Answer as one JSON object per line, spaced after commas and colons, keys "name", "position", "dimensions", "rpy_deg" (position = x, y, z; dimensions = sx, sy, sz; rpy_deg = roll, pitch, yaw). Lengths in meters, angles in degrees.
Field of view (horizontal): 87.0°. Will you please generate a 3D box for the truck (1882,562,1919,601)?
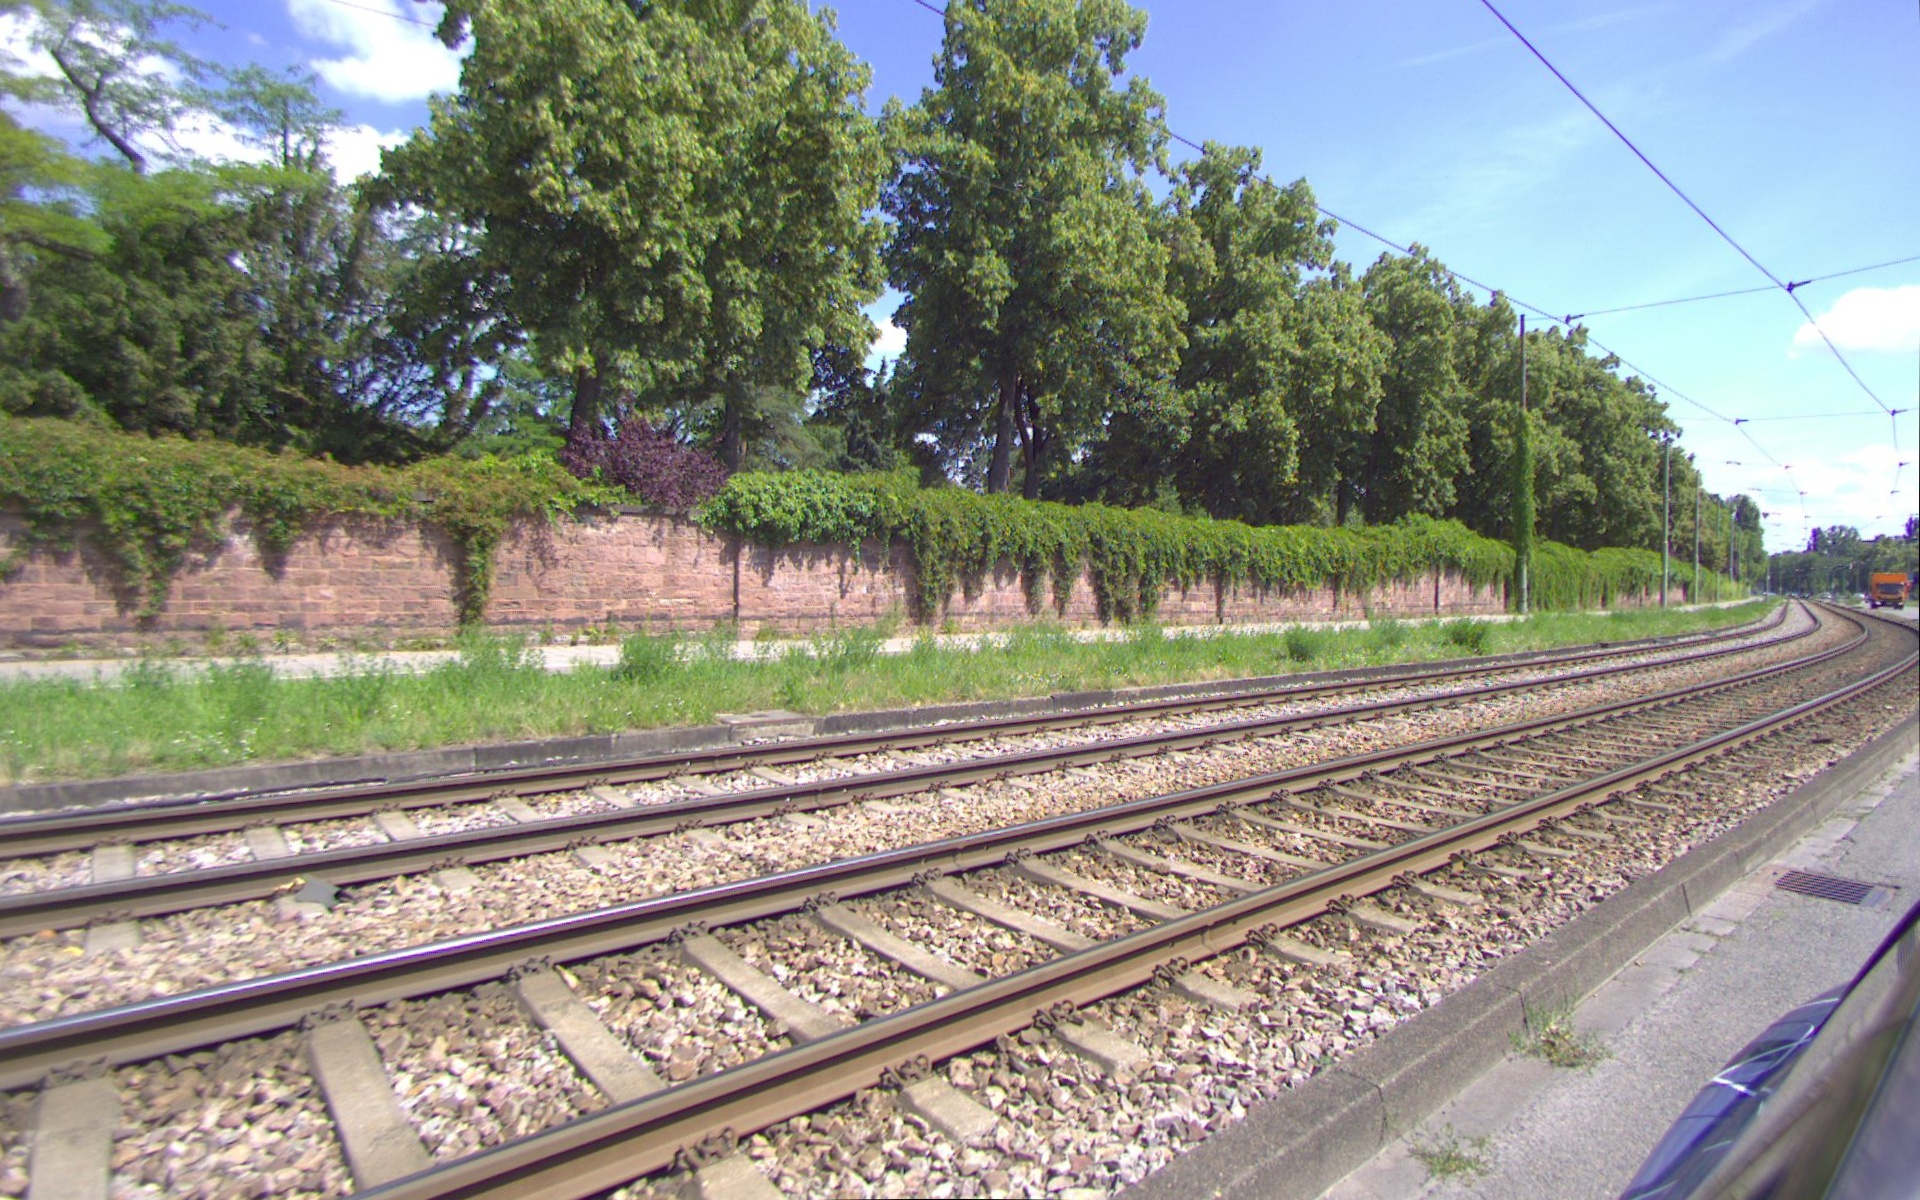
{"name": "truck", "position": [92.339, -1.801, 99.179], "dimensions": [2.836, 3.640, 8.575], "rpy_deg": [1, 1, 42]}
